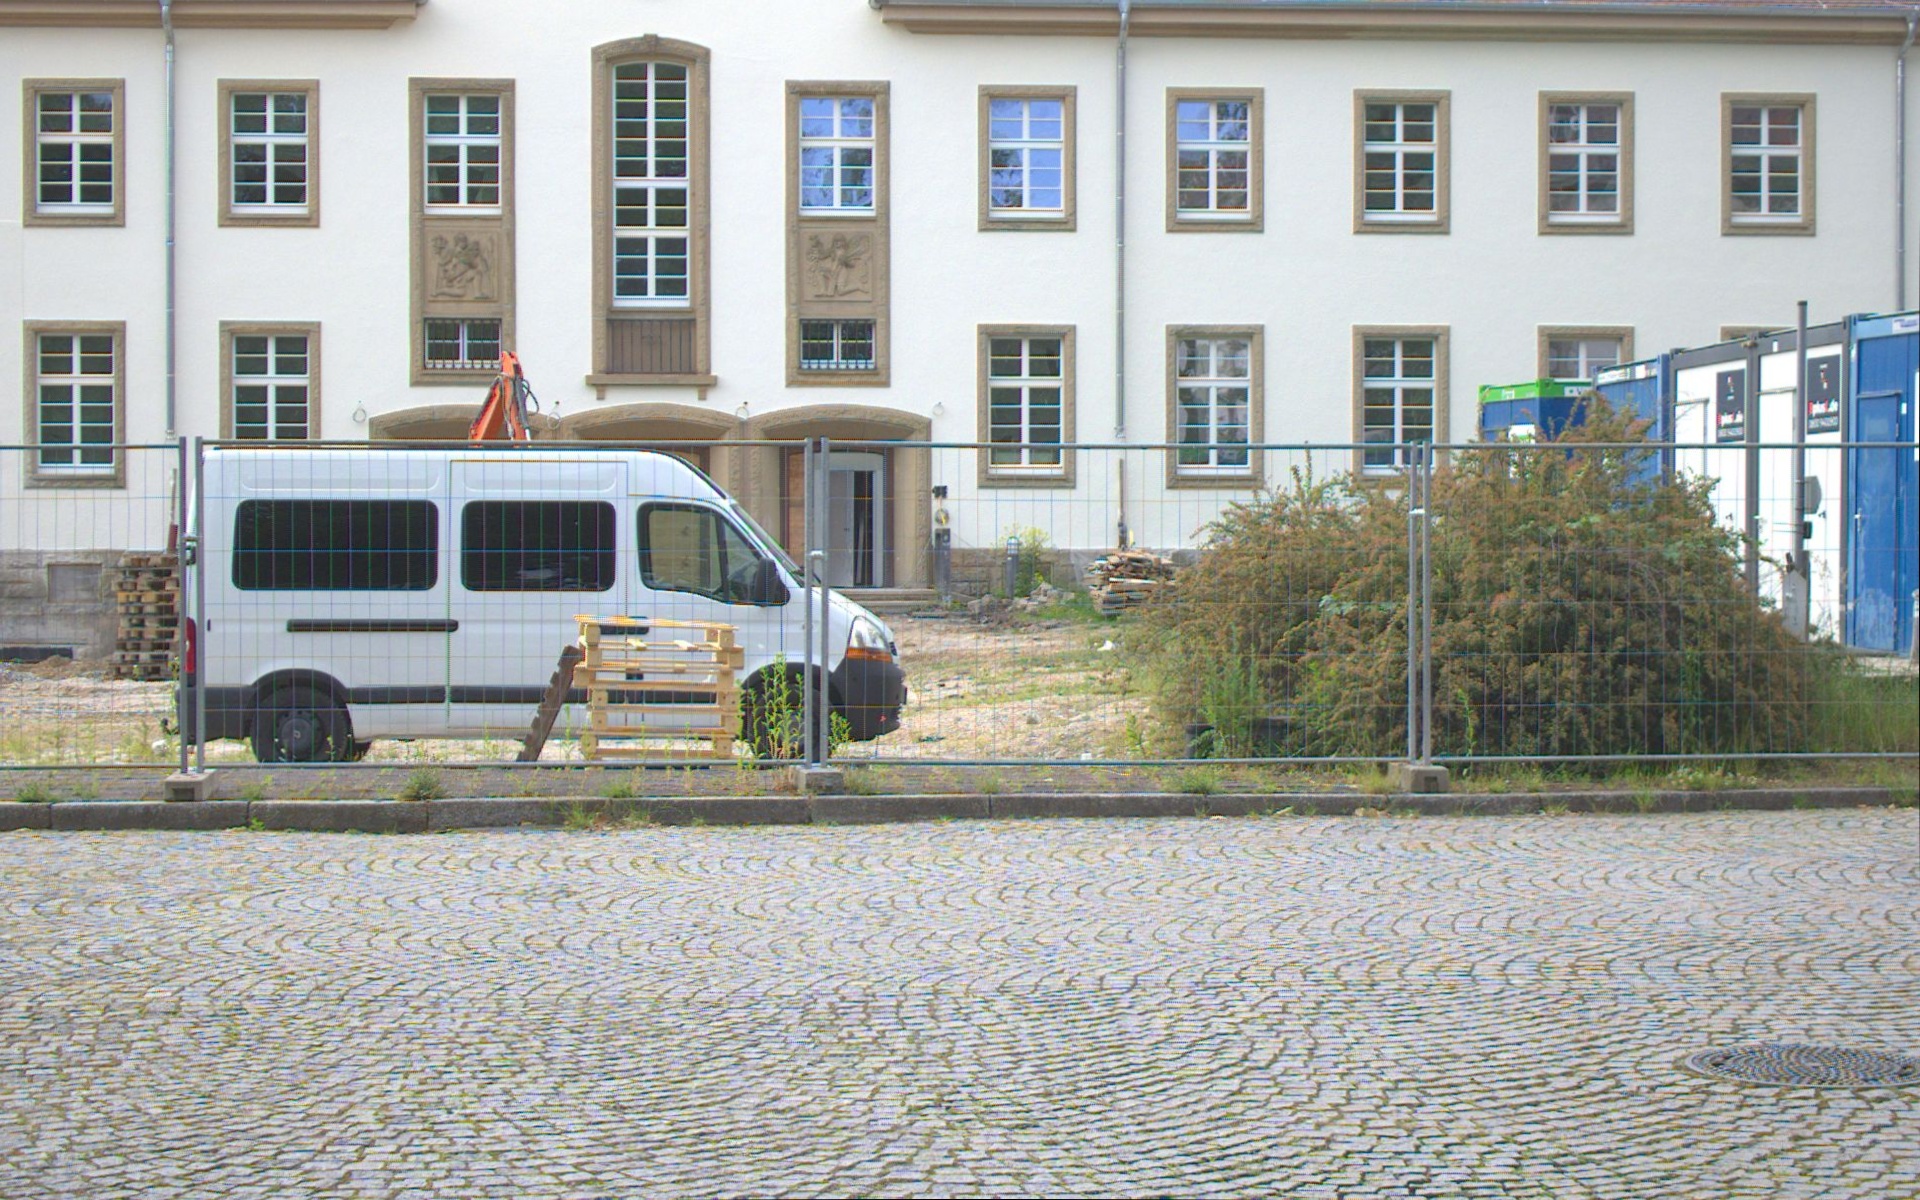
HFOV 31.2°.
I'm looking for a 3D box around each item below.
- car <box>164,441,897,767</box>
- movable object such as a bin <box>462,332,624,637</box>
[{"bbox_3d":[-3.137,0.008,25.774,5.262,2.336,1.910,0,1,-3],"label":"car"},{"bbox_3d":[-5.537,-1.480,45.266,1.993,3.758,5.319,0,1,-8],"label":"movable object such as a bin"}]
